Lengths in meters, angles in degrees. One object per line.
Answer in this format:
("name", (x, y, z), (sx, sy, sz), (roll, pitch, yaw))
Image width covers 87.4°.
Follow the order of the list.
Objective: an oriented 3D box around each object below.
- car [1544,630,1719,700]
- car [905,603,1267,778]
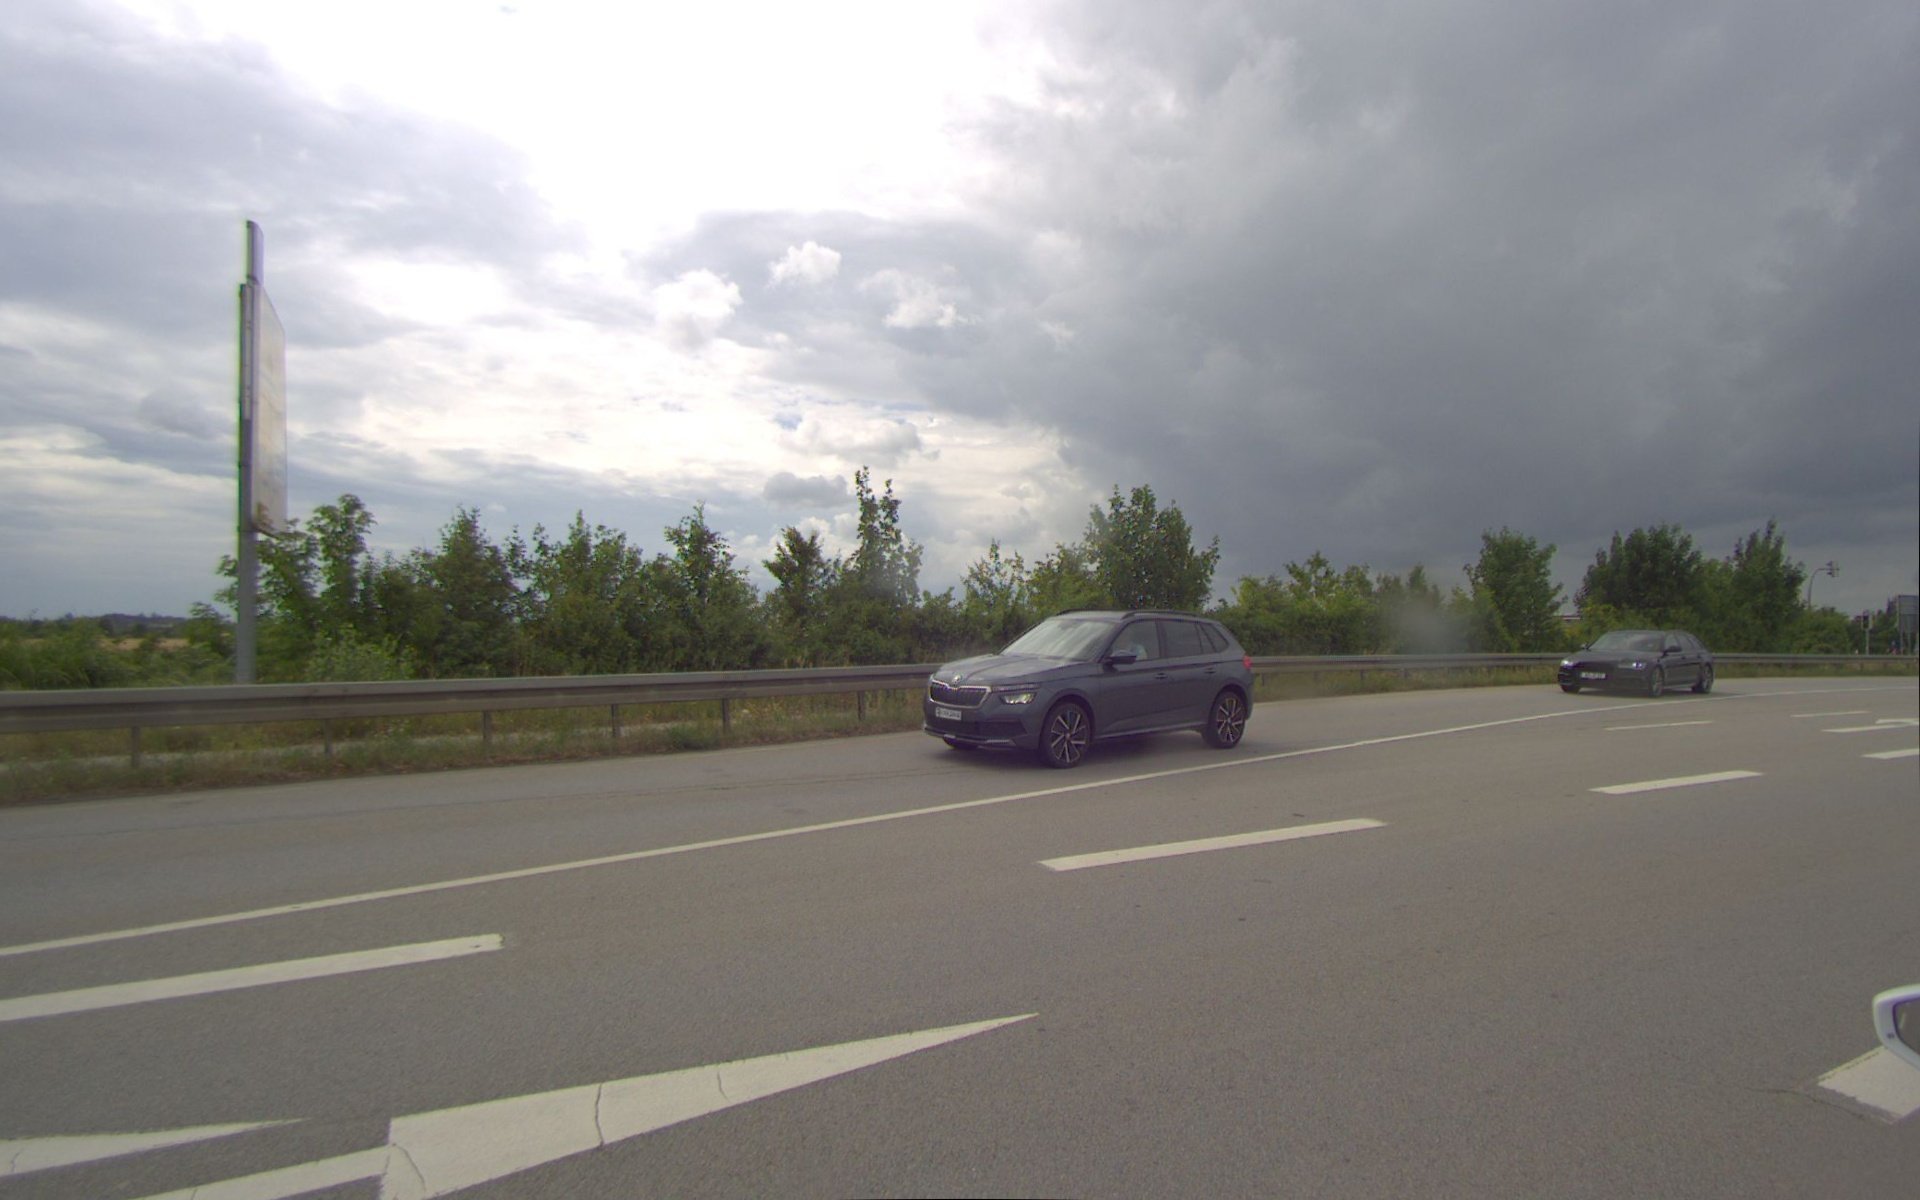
("car", (15.441, 1.433, 23.023), (4.739, 1.387, 1.796), (2, 0, -36))
("car", (1.509, 0.877, 11.028), (4.112, 1.578, 1.569), (2, -1, -40))
